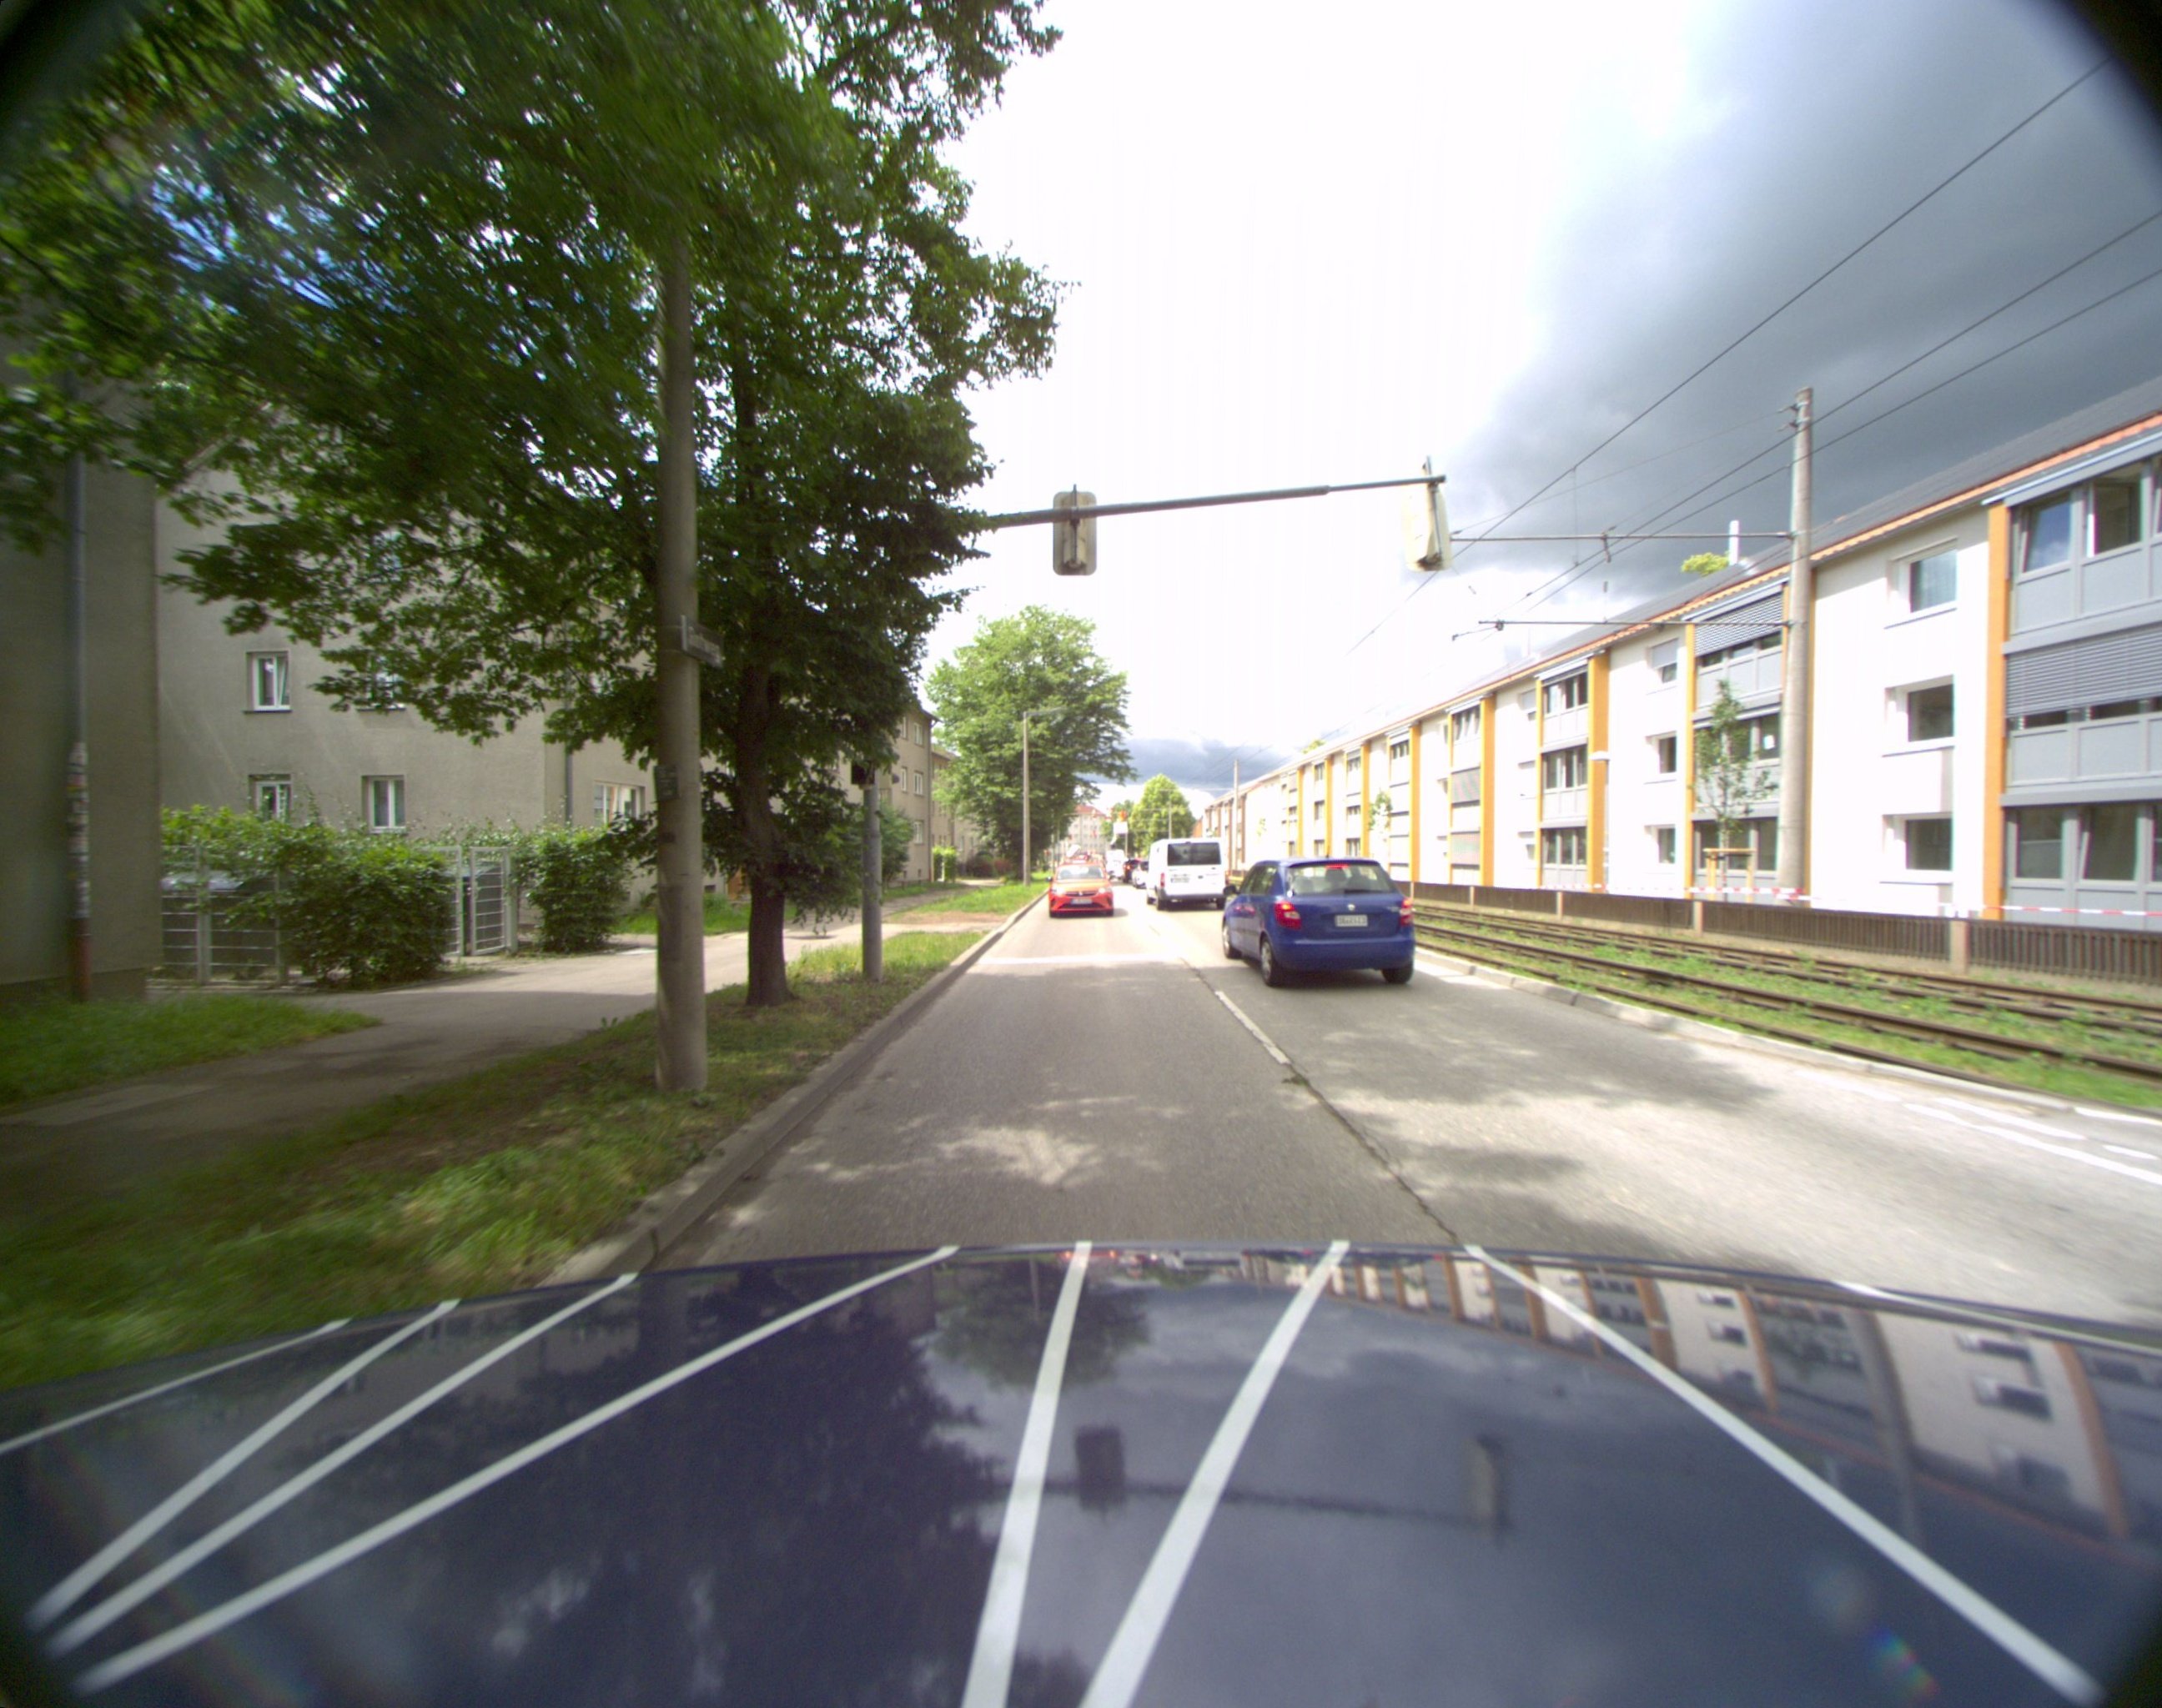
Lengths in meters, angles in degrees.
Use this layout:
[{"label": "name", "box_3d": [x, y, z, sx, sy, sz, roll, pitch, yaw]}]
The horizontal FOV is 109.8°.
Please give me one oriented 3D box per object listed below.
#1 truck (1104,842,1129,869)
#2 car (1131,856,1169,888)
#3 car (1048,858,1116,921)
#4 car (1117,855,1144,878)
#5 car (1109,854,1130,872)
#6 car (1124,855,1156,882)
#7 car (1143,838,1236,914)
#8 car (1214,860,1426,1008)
[{"label": "truck", "box_3d": [3.731, 0.116, 80.773, 2.096, 2.723, 5.096, -2, 1, -2]}, {"label": "car", "box_3d": [3.357, 0.870, 37.356, 1.613, 1.405, 3.647, -2, 0, 2]}, {"label": "car", "box_3d": [0.037, 0.905, 21.095, 1.666, 1.513, 3.786, -1, 0, 0]}, {"label": "car", "box_3d": [3.515, 0.835, 54.189, 1.666, 1.512, 3.786, -2, 0, 0]}, {"label": "car", "box_3d": [3.482, 0.834, 68.553, 1.666, 1.512, 3.861, -2, 0, 0]}, {"label": "car", "box_3d": [3.538, 0.839, 46.005, 1.666, 1.512, 3.678, -2, 0, 0]}, {"label": "car", "box_3d": [3.122, 0.594, 22.874, 1.999, 1.984, 4.785, -1, 0, -1]}, {"label": "car", "box_3d": [2.845, 0.852, 9.882, 1.585, 1.477, 3.806, -2, 0, 1]}]
